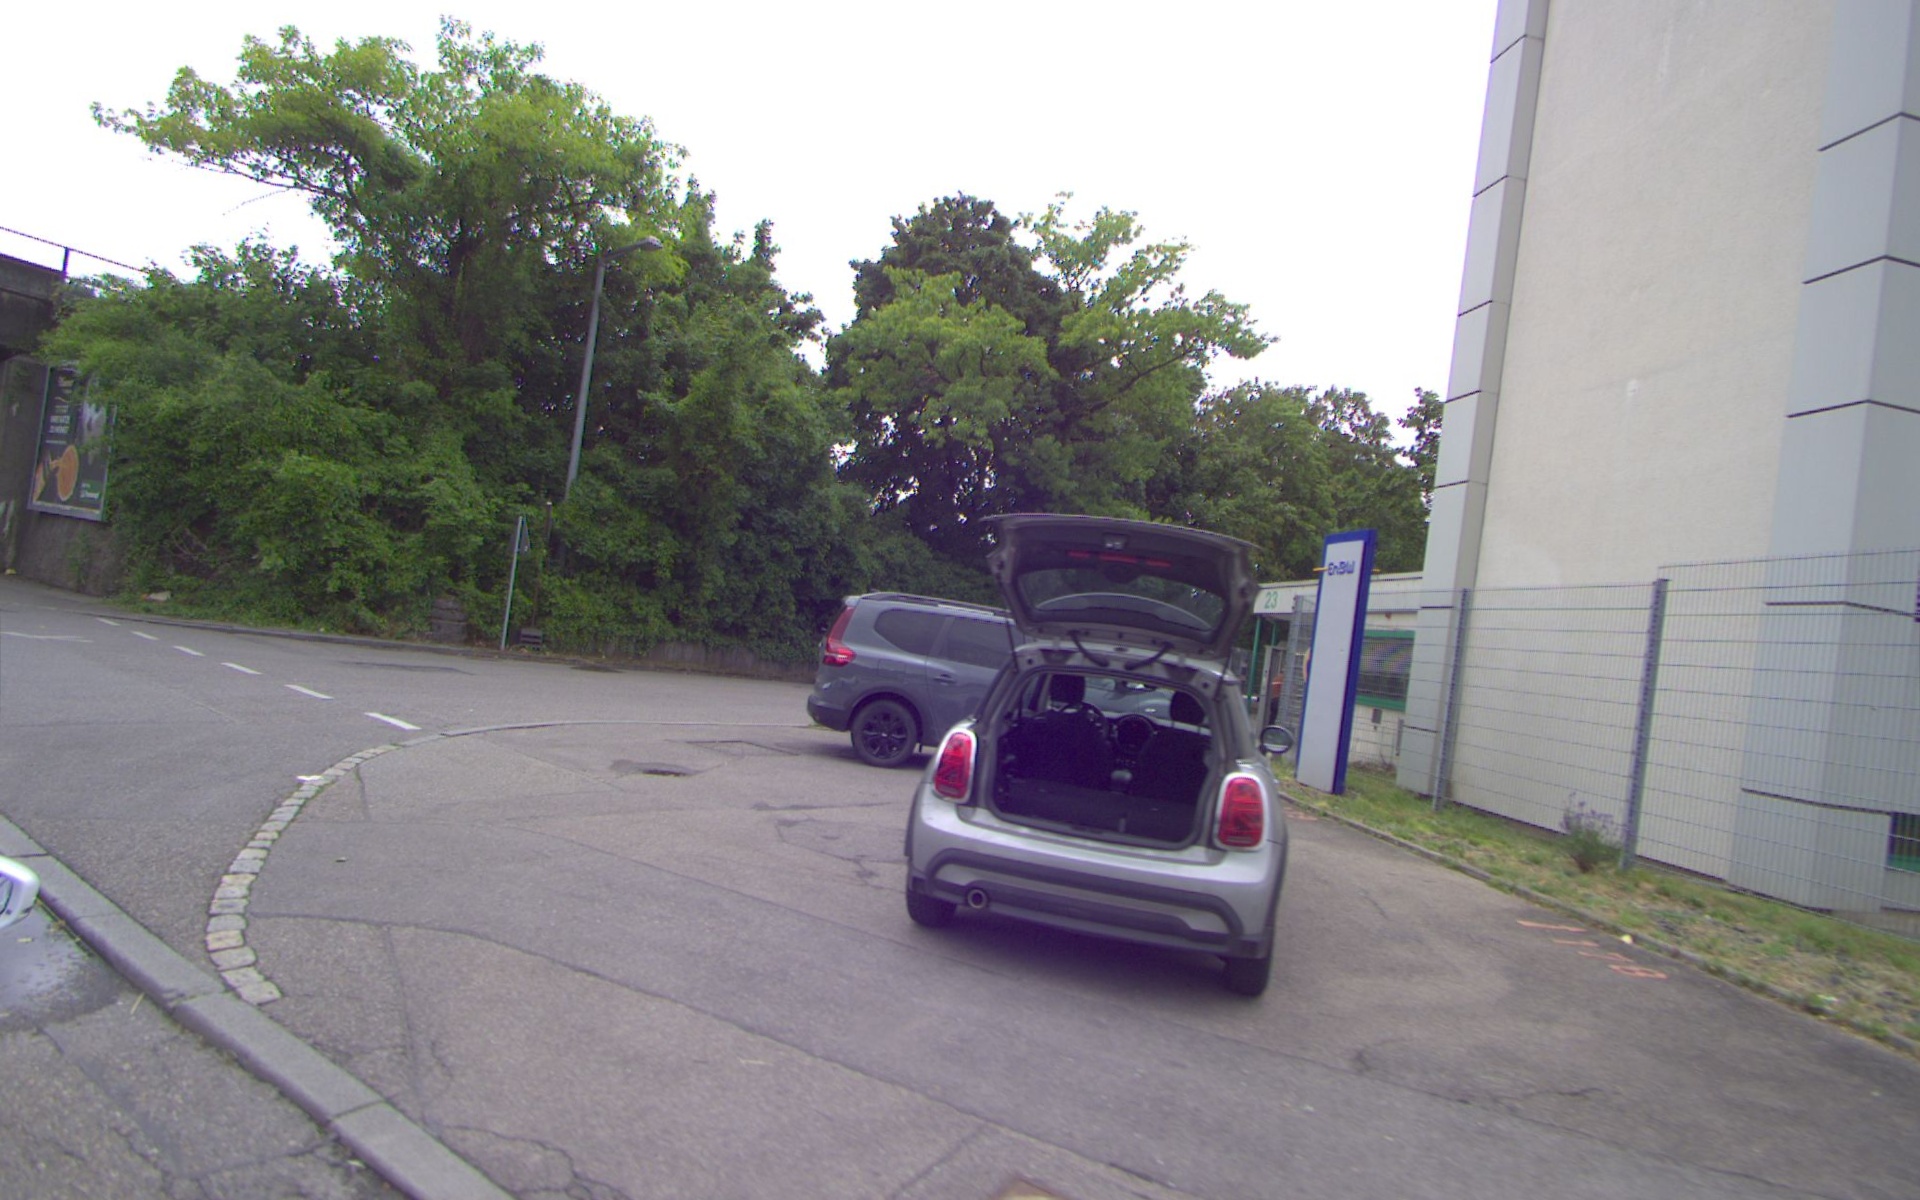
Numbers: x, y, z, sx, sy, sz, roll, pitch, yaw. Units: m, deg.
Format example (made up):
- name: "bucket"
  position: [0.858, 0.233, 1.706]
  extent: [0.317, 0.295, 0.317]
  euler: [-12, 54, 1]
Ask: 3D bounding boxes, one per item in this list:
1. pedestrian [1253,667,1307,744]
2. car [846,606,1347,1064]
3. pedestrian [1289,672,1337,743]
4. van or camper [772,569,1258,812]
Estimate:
- name: "pedestrian"
  position: [7.396, 2.440, 23.284]
  extent: [0.773, 1.640, 0.712]
  euler: [7, 0, 44]
- name: "car"
  position: [0.962, 0.970, 5.797]
  extent: [1.752, 1.448, 4.024]
  euler: [7, -1, 15]
- name: "pedestrian"
  position: [9.144, 2.792, 26.070]
  extent: [0.773, 1.706, 0.712]
  euler: [7, 0, 44]
- name: "van or camper"
  position: [0.495, 0.906, 10.365]
  extent: [4.426, 1.713, 1.833]
  euler: [8, -2, -4]
